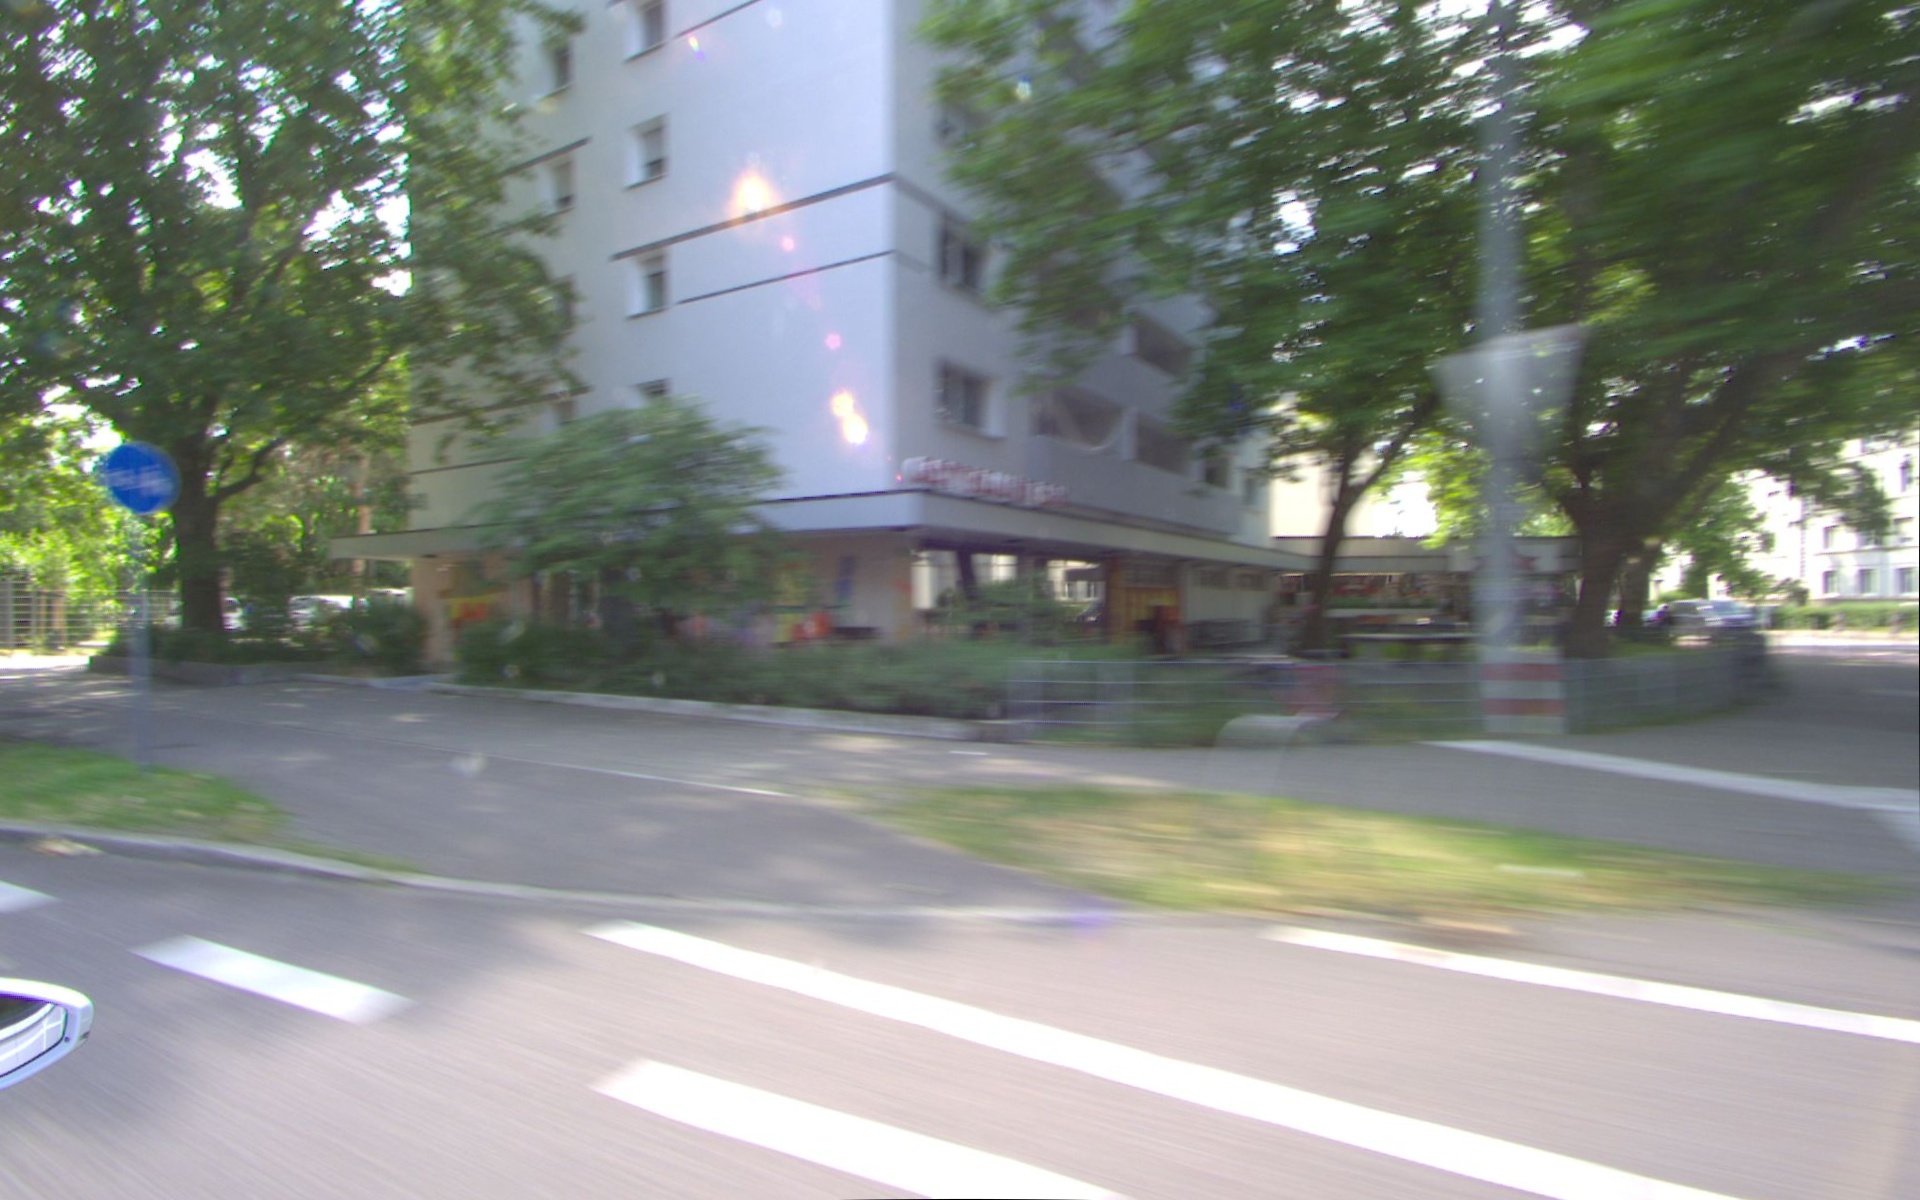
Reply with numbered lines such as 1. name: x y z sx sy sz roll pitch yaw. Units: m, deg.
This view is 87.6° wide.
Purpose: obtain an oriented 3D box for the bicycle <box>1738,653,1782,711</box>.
1. bicycle: 12.159 1.230 15.212 1.198 0.807 0.295 0 1 -40

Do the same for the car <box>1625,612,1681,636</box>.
1. car: 45.697 1.565 66.104 1.697 1.575 3.632 0 0 10

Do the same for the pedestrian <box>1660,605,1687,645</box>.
1. pedestrian: 26.805 0.934 37.643 0.659 1.498 0.574 1 1 17

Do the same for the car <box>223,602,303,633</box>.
1. car: -33.474 0.813 48.052 3.990 1.421 1.803 0 0 33

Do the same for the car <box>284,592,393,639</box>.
1. car: -24.640 0.585 39.681 4.702 1.779 1.734 0 0 31

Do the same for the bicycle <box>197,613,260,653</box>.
1. bicycle: -20.605 0.910 28.199 1.808 1.087 0.605 0 1 24

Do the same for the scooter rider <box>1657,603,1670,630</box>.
1. scooter rider: 48.683 1.119 69.301 0.518 1.836 0.648 0 1 8

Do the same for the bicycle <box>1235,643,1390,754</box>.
1. bicycle: 3.644 0.980 10.298 1.704 1.022 0.531 0 0 -30

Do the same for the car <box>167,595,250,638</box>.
1. car: -34.287 0.734 45.657 4.280 1.839 1.802 0 0 35

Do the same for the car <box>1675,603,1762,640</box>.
1. car: 35.719 0.984 47.276 1.832 1.683 3.746 0 0 11
